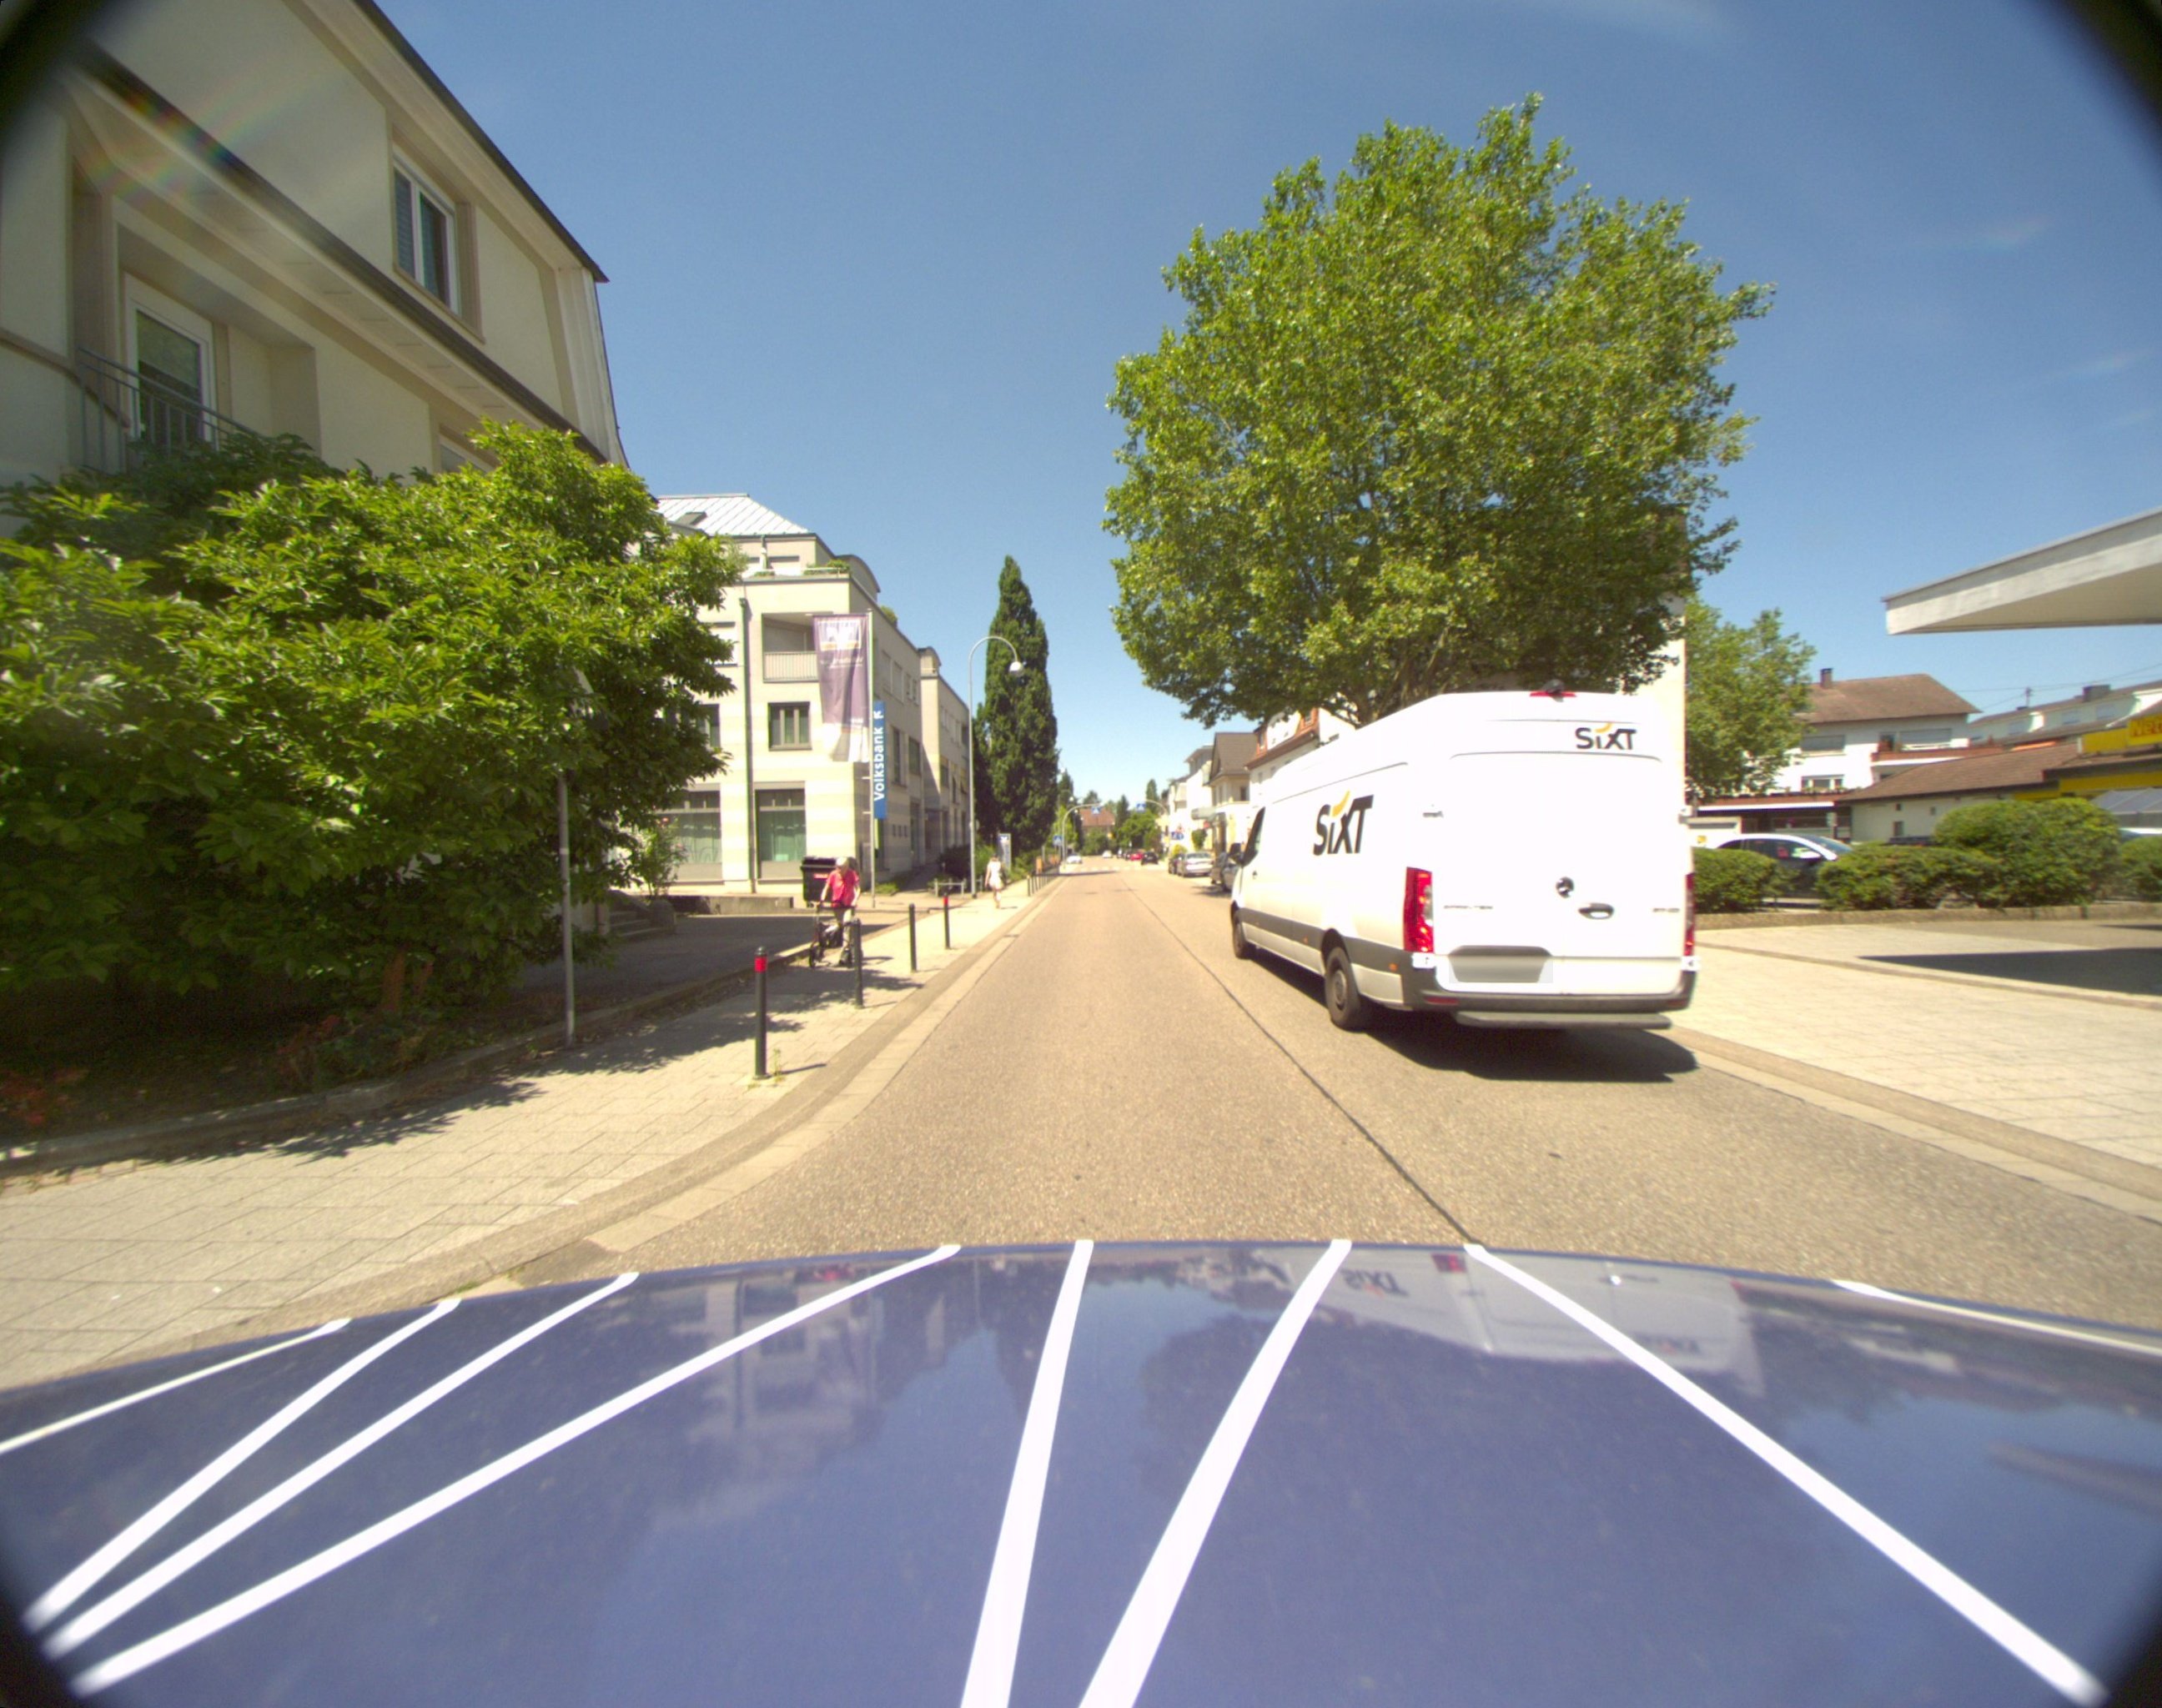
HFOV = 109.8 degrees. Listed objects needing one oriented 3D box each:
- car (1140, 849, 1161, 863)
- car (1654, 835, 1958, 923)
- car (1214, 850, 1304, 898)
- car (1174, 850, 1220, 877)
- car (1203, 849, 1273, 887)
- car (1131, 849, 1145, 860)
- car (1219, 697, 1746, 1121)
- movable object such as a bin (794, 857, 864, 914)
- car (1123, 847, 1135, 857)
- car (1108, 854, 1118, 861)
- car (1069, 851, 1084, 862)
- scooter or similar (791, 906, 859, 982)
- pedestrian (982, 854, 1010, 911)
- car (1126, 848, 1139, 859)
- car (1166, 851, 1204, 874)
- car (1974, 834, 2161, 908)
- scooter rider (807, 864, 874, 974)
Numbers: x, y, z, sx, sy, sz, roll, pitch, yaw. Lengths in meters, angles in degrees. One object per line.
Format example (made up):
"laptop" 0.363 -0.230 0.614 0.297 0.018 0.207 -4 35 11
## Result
"car" 7.650 0.201 84.364 1.921 1.444 5.149 -4 0 2
"car" 14.176 0.422 15.116 1.900 1.478 3.986 -2 1 -29
"car" 6.159 0.640 26.960 1.986 1.444 5.150 -3 0 0
"car" 6.728 0.508 44.570 1.986 1.444 5.358 -3 0 2
"car" 6.683 0.548 32.843 1.986 1.444 4.867 -3 0 0
"car" 8.354 0.006 111.883 1.737 1.444 4.260 -4 0 2
"car" 3.128 0.327 8.265 2.041 2.615 7.107 0 0 1
"movable object such as a bin" -6.842 0.823 20.690 1.371 1.450 1.380 2 1 3
"car" 9.016 -0.341 143.078 1.925 1.681 4.287 -4 1 3
"car" 6.727 0.655 159.239 1.812 1.474 3.868 0 1 0
"car" -0.642 0.347 104.605 1.920 1.460 4.880 -1 1 1
"scooter or similar" -3.523 1.227 10.505 0.665 0.957 0.754 0 1 1
"pedestrian" -2.448 0.807 22.005 0.702 1.617 0.783 1 1 0
"car" 8.363 -0.146 123.181 1.925 1.577 4.435 -4 0 2
"car" 6.898 0.520 50.638 1.947 1.365 5.098 -2 0 2
"car" 21.540 0.326 15.458 1.778 1.426 4.028 0 0 -25
"scooter rider" -3.517 0.924 11.168 0.718 1.540 0.770 0 1 -1
